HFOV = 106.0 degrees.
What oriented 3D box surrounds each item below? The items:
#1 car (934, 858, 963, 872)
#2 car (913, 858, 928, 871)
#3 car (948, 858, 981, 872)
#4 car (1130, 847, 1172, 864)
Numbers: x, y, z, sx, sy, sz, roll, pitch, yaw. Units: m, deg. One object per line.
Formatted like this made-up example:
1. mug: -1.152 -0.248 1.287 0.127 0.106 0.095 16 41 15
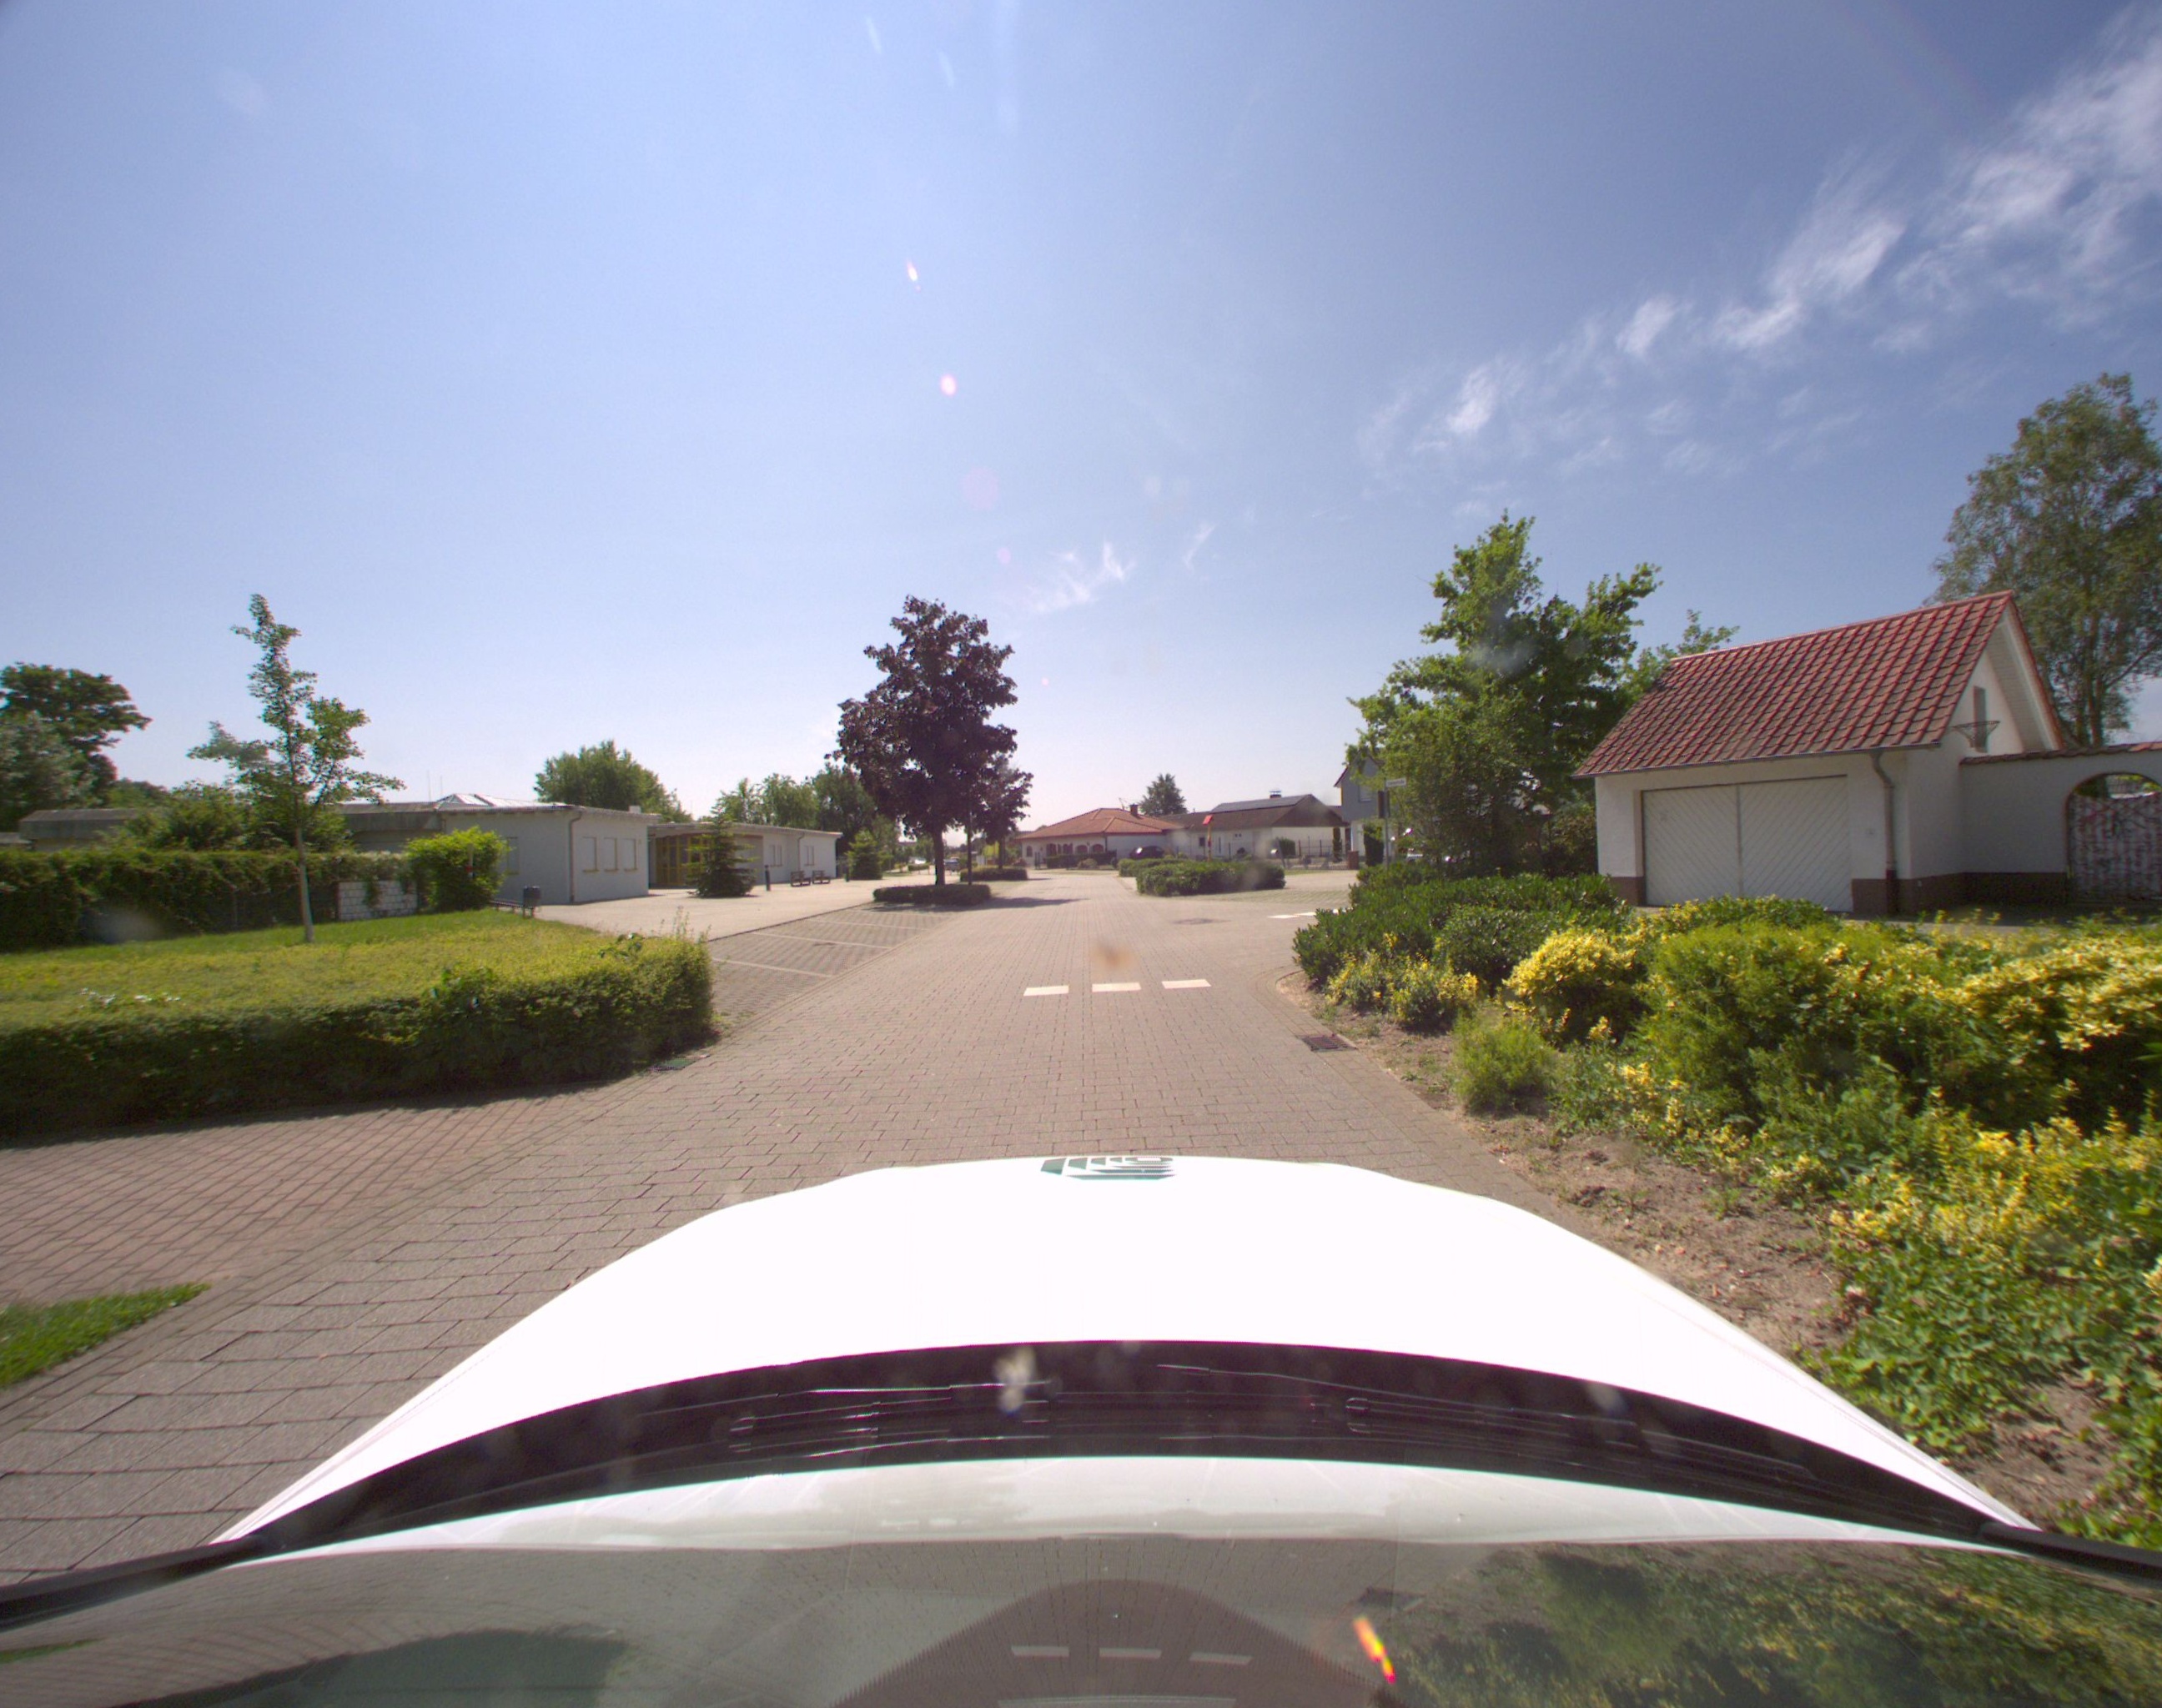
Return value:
1. car: -13.141 1.124 80.484 1.625 1.288 3.522 -2 0 -31
2. car: -21.370 1.344 108.510 1.612 1.627 3.550 -2 0 -6
3. car: -12.071 1.130 84.249 2.006 1.288 3.961 -2 0 -30
4. car: 6.710 0.119 77.509 3.858 1.542 1.831 -2 0 -44
